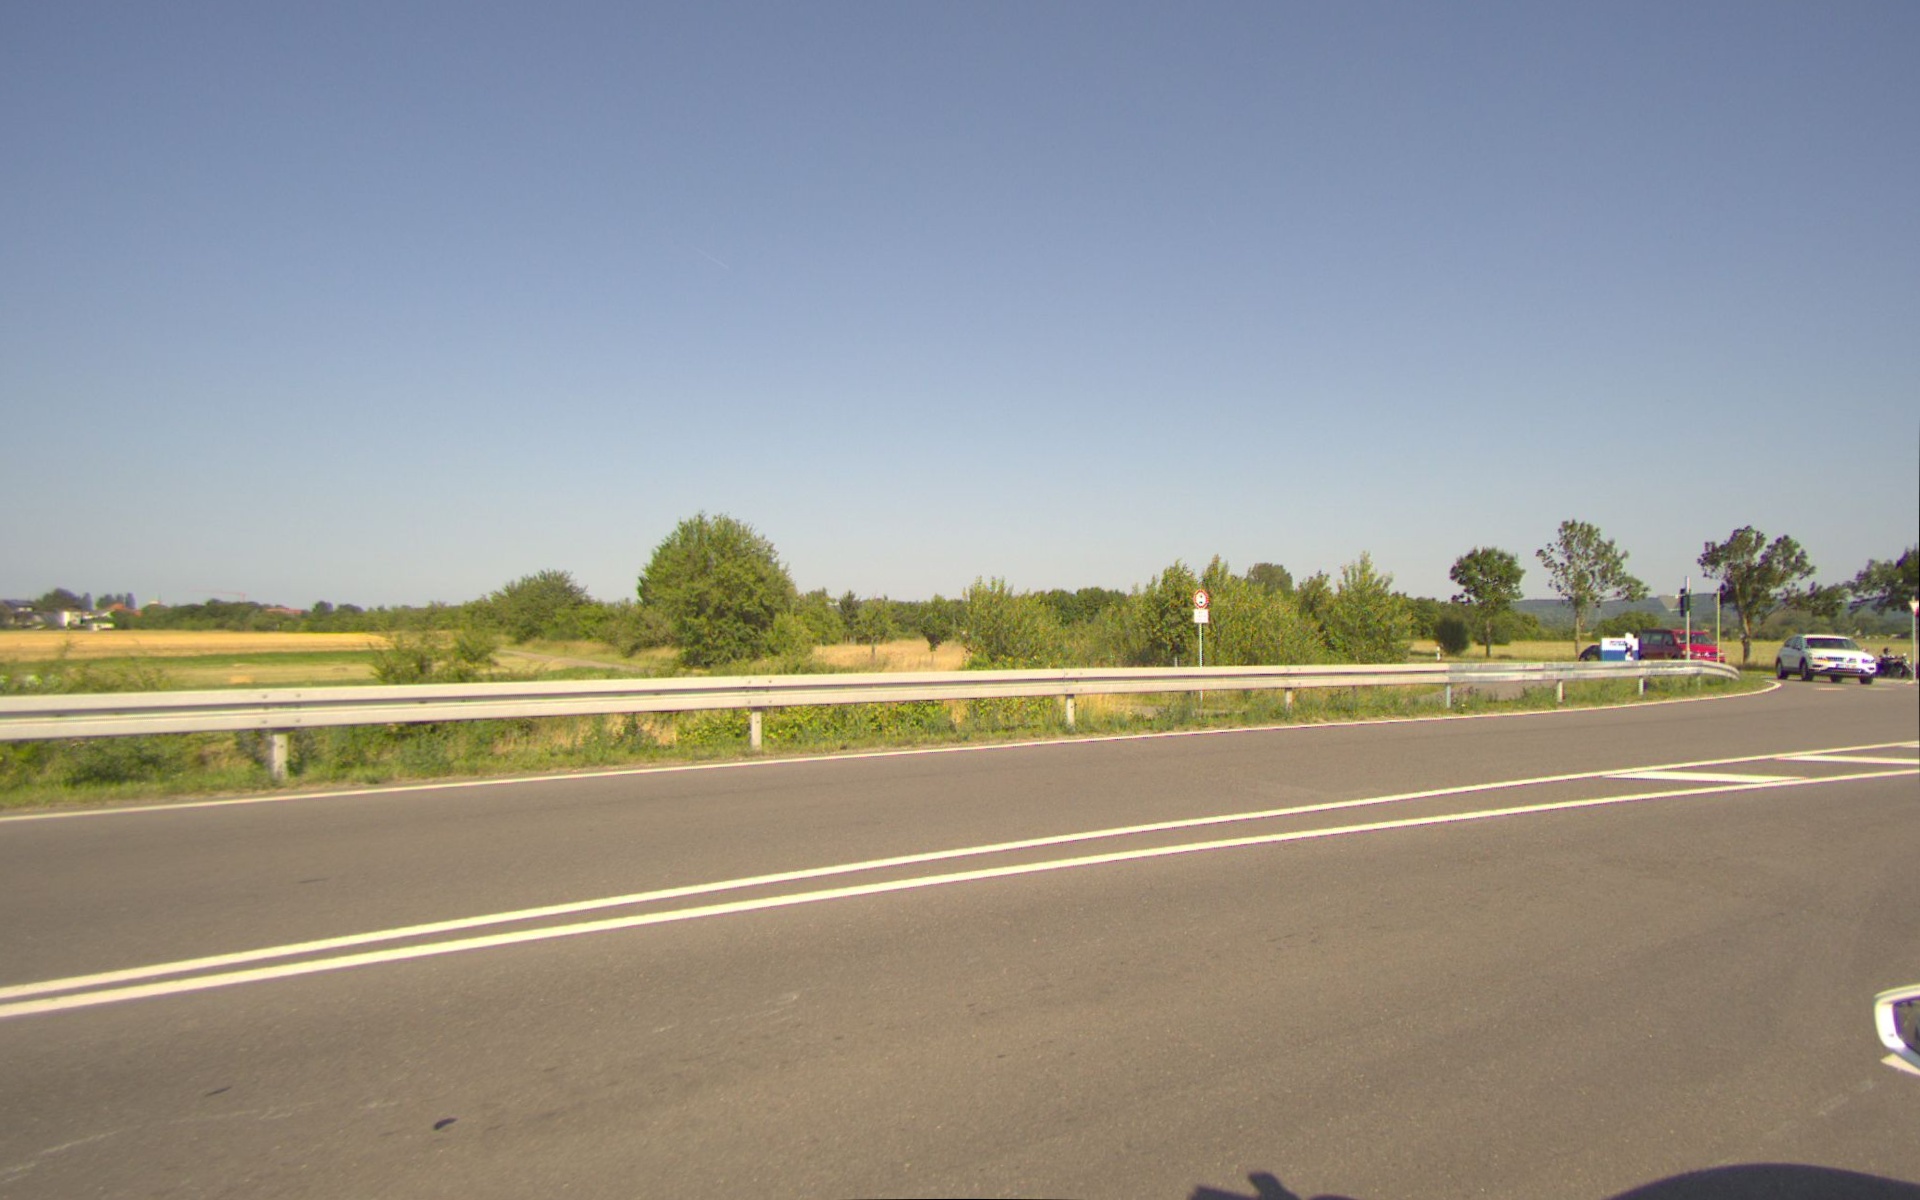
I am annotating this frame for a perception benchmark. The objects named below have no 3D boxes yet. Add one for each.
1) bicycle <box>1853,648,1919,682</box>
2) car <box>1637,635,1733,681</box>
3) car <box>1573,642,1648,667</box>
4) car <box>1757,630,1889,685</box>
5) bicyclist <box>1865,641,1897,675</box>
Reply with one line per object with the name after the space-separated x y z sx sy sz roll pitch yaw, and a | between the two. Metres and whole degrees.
42.958 2.997 46.415 0.720 1.415 2.489 2 0 -17 | bicycle
34.377 2.685 47.796 1.802 1.966 4.930 3 -1 12 | car
39.456 3.290 61.030 1.698 1.476 3.734 0 -2 -10 | car
30.088 2.013 35.222 1.663 1.695 4.866 3 -2 17 | car
42.854 2.704 46.752 0.745 1.509 0.807 2 0 -17 | bicyclist
